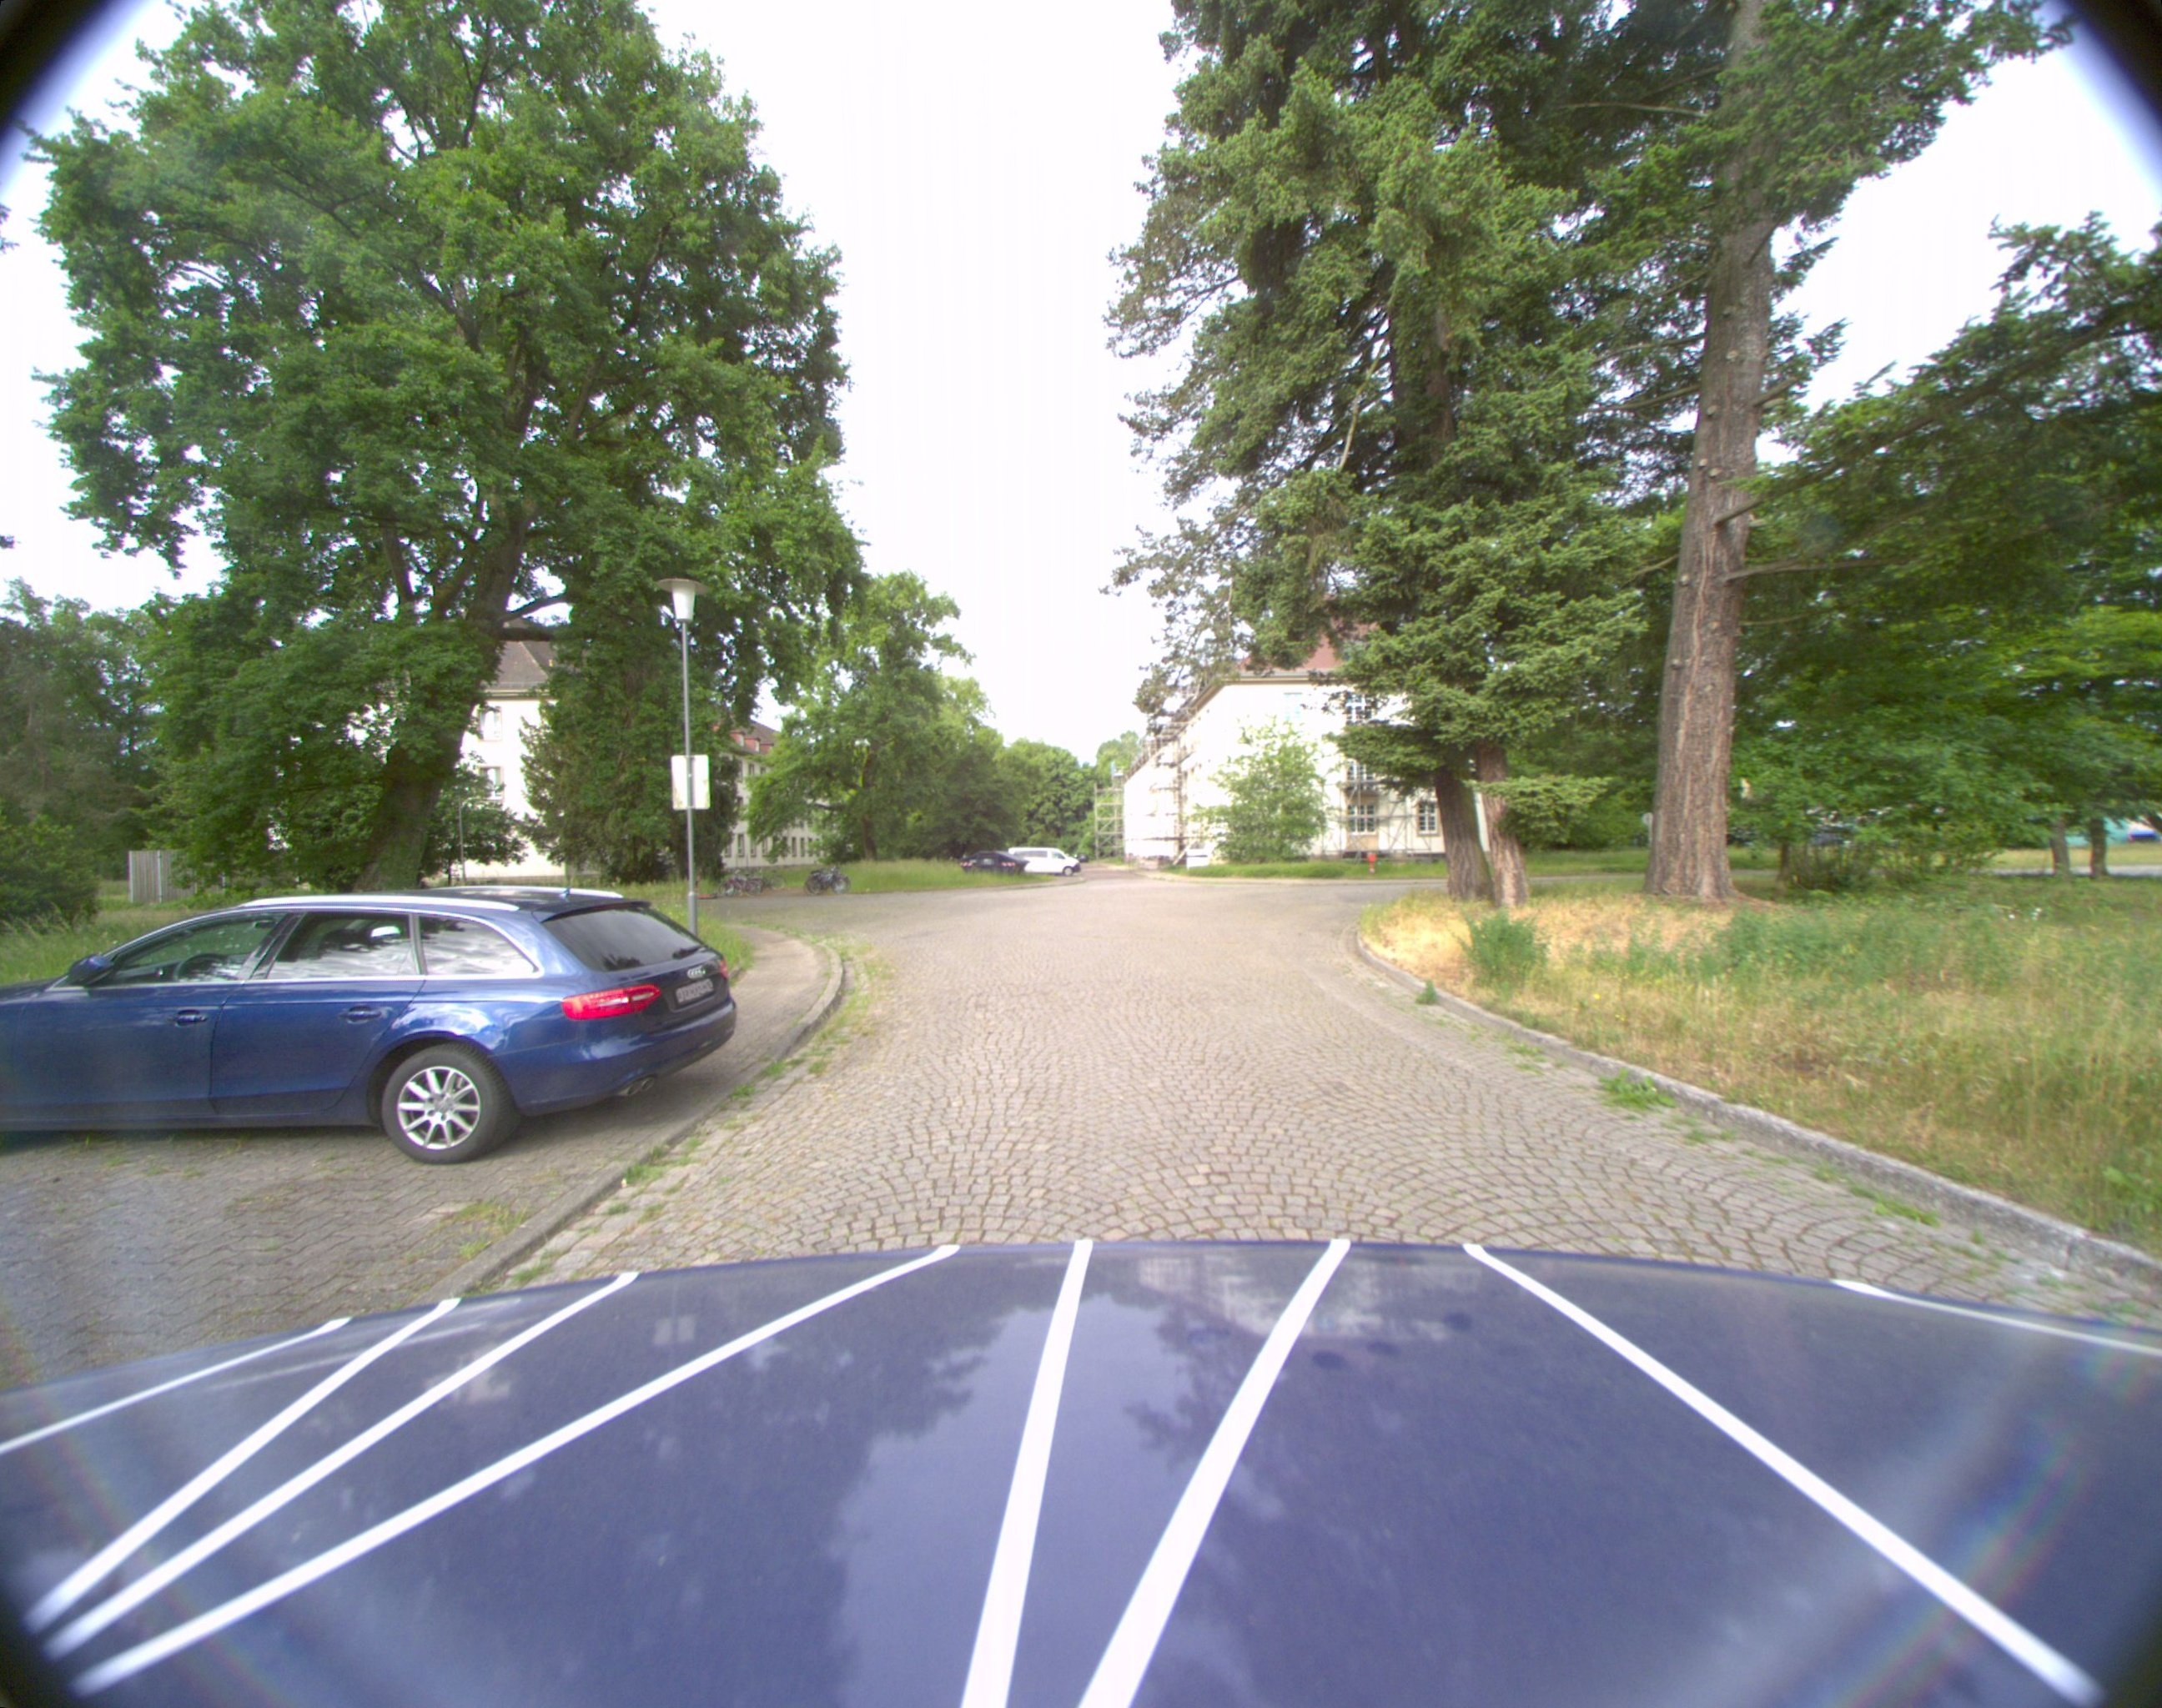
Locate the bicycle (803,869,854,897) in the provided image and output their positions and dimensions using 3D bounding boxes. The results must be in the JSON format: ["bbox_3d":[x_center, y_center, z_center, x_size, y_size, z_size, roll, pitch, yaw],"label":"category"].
[{"bbox_3d":[-10.990,1.242,33.077,1.976,1.070,0.587,-3,1,-30],"label":"bicycle"}]

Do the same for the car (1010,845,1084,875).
[{"bbox_3d":[-2.438,0.415,53.741,5.102,2.007,2.054,0,1,-4],"label":"car"}]

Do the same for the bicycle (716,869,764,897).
[{"bbox_3d":[-15.133,1.288,33.735,1.860,1.116,0.620,-3,1,-25],"label":"bicycle"}]

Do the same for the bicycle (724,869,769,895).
[{"bbox_3d":[-15.561,1.287,35.377,1.860,1.116,0.620,-3,1,-25],"label":"bicycle"}]

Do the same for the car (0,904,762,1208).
[{"bbox_3d":[-4.631,1.099,4.770,4.481,1.413,1.784,0,1,1],"label":"car"}]

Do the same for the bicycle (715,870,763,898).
[{"bbox_3d":[-14.907,1.286,33.134,1.860,1.116,0.620,-3,1,-25],"label":"bicycle"}]

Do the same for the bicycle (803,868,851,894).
[{"bbox_3d":[-11.572,1.213,34.633,1.976,1.070,0.587,-3,1,-30],"label":"bicycle"}]

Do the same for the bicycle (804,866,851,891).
[{"bbox_3d":[-12.238,1.167,36.710,2.032,1.070,0.620,-3,1,-25],"label":"bicycle"}]

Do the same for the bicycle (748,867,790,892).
[{"bbox_3d":[-15.451,1.245,37.602,1.860,1.116,0.620,-3,1,-25],"label":"bicycle"}]
